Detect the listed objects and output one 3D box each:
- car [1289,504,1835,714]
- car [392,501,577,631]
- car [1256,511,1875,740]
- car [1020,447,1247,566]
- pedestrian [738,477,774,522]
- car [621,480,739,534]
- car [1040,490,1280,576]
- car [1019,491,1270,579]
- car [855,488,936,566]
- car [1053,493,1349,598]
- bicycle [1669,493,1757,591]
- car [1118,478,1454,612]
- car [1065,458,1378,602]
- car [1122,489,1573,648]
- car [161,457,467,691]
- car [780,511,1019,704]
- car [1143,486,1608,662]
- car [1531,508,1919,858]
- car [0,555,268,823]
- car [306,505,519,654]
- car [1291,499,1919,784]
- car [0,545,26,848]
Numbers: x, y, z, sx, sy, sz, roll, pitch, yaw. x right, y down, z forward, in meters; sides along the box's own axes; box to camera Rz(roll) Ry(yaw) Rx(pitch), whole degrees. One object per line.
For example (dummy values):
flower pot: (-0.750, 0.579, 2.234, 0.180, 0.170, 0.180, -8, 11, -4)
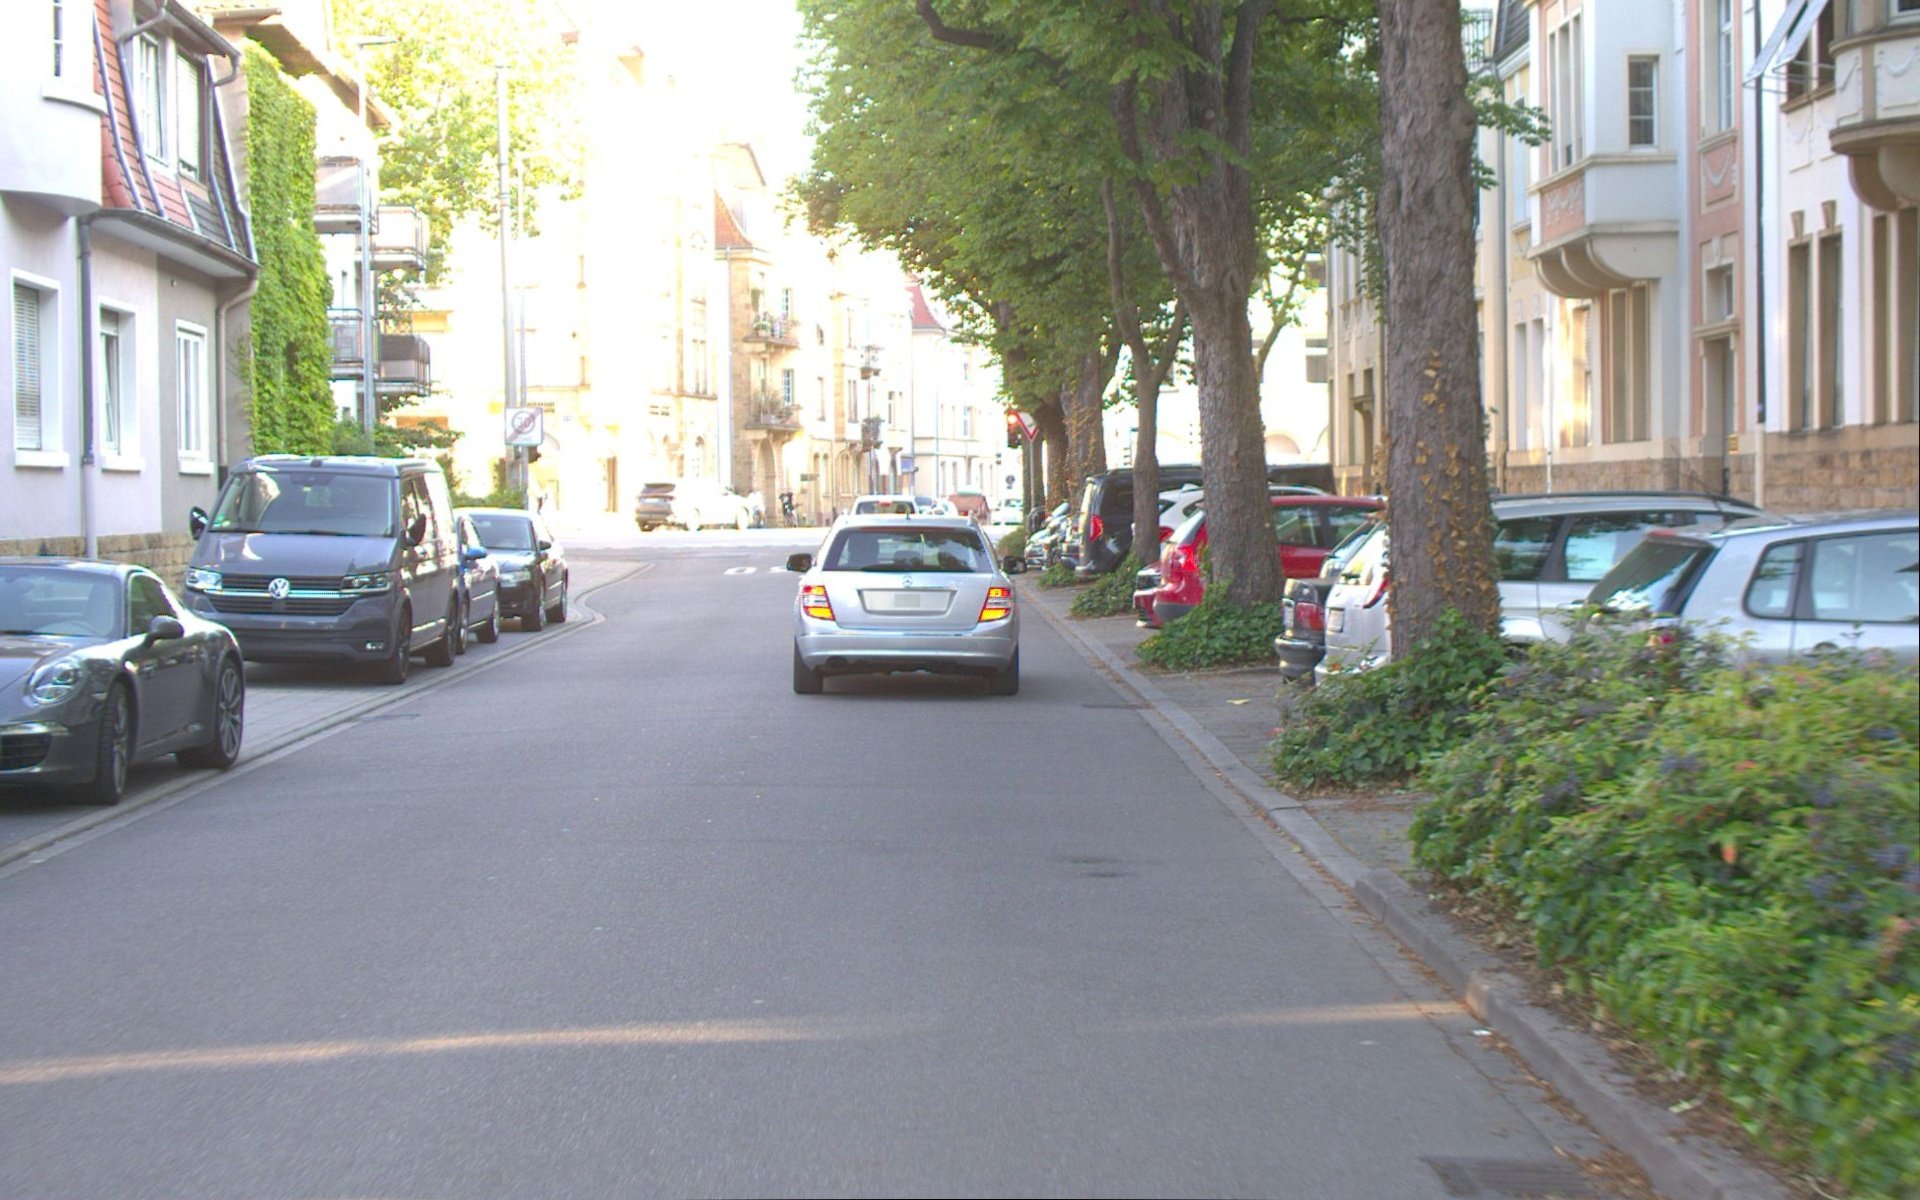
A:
car: (4.391, 0.046, 25.459, 3.793, 1.478, 1.561, 0, 2, 1)
car: (-5.794, -0.459, 42.322, 1.695, 1.442, 4.358, 1, 2, -1)
car: (3.961, 0.140, 22.954, 3.793, 1.433, 1.818, 0, 2, -1)
car: (3.464, -1.897, 69.343, 4.388, 2.356, 2.000, 0, 2, -3)
pedestrian: (-7.844, -3.883, 132.360, 1.221, 1.715, 1.503, 1, 2, 2)
car: (-8.544, -2.861, 105.295, 1.996, 1.579, 3.996, 1, 3, 23)
car: (3.688, -1.253, 63.886, 4.287, 1.535, 1.899, 0, 2, -3)
car: (3.268, -1.168, 61.443, 4.287, 1.412, 1.877, -2, 2, -3)
car: (-1.334, -1.564, 72.410, 1.623, 1.564, 3.680, 0, 2, 0)
car: (3.629, -0.844, 52.260, 4.287, 1.535, 1.877, 0, 2, -3)
bicycle: (8.584, -0.677, 39.251, 0.474, 1.053, 2.046, -2, 2, -2)
car: (4.183, -0.725, 44.563, 4.110, 1.566, 1.877, -2, 2, 0)
car: (3.711, -1.013, 49.255, 4.219, 1.889, 1.906, -2, 2, -2)
car: (3.913, -0.339, 35.271, 4.411, 1.414, 1.877, -2, 2, 2)
car: (-5.775, -0.314, 31.319, 1.982, 1.941, 4.852, 1, 2, -2)
car: (-0.461, 0.005, 27.749, 1.784, 1.432, 3.851, 1, 1, 0)
car: (3.881, -0.269, 32.672, 4.190, 1.470, 1.852, -2, 2, 2)
car: (4.713, 0.302, 15.745, 3.792, 1.433, 1.749, -2, 2, -5)
car: (-5.268, 0.435, 19.963, 1.531, 1.314, 4.227, 0, 2, 2)
car: (-5.883, -0.265, 37.343, 1.653, 1.442, 4.238, 1, 2, -1)
car: (4.170, 0.203, 20.330, 4.146, 1.571, 1.713, 0, 2, -6)
car: (-5.413, 0.516, 14.906, 1.653, 1.440, 3.960, 1, 2, 0)
